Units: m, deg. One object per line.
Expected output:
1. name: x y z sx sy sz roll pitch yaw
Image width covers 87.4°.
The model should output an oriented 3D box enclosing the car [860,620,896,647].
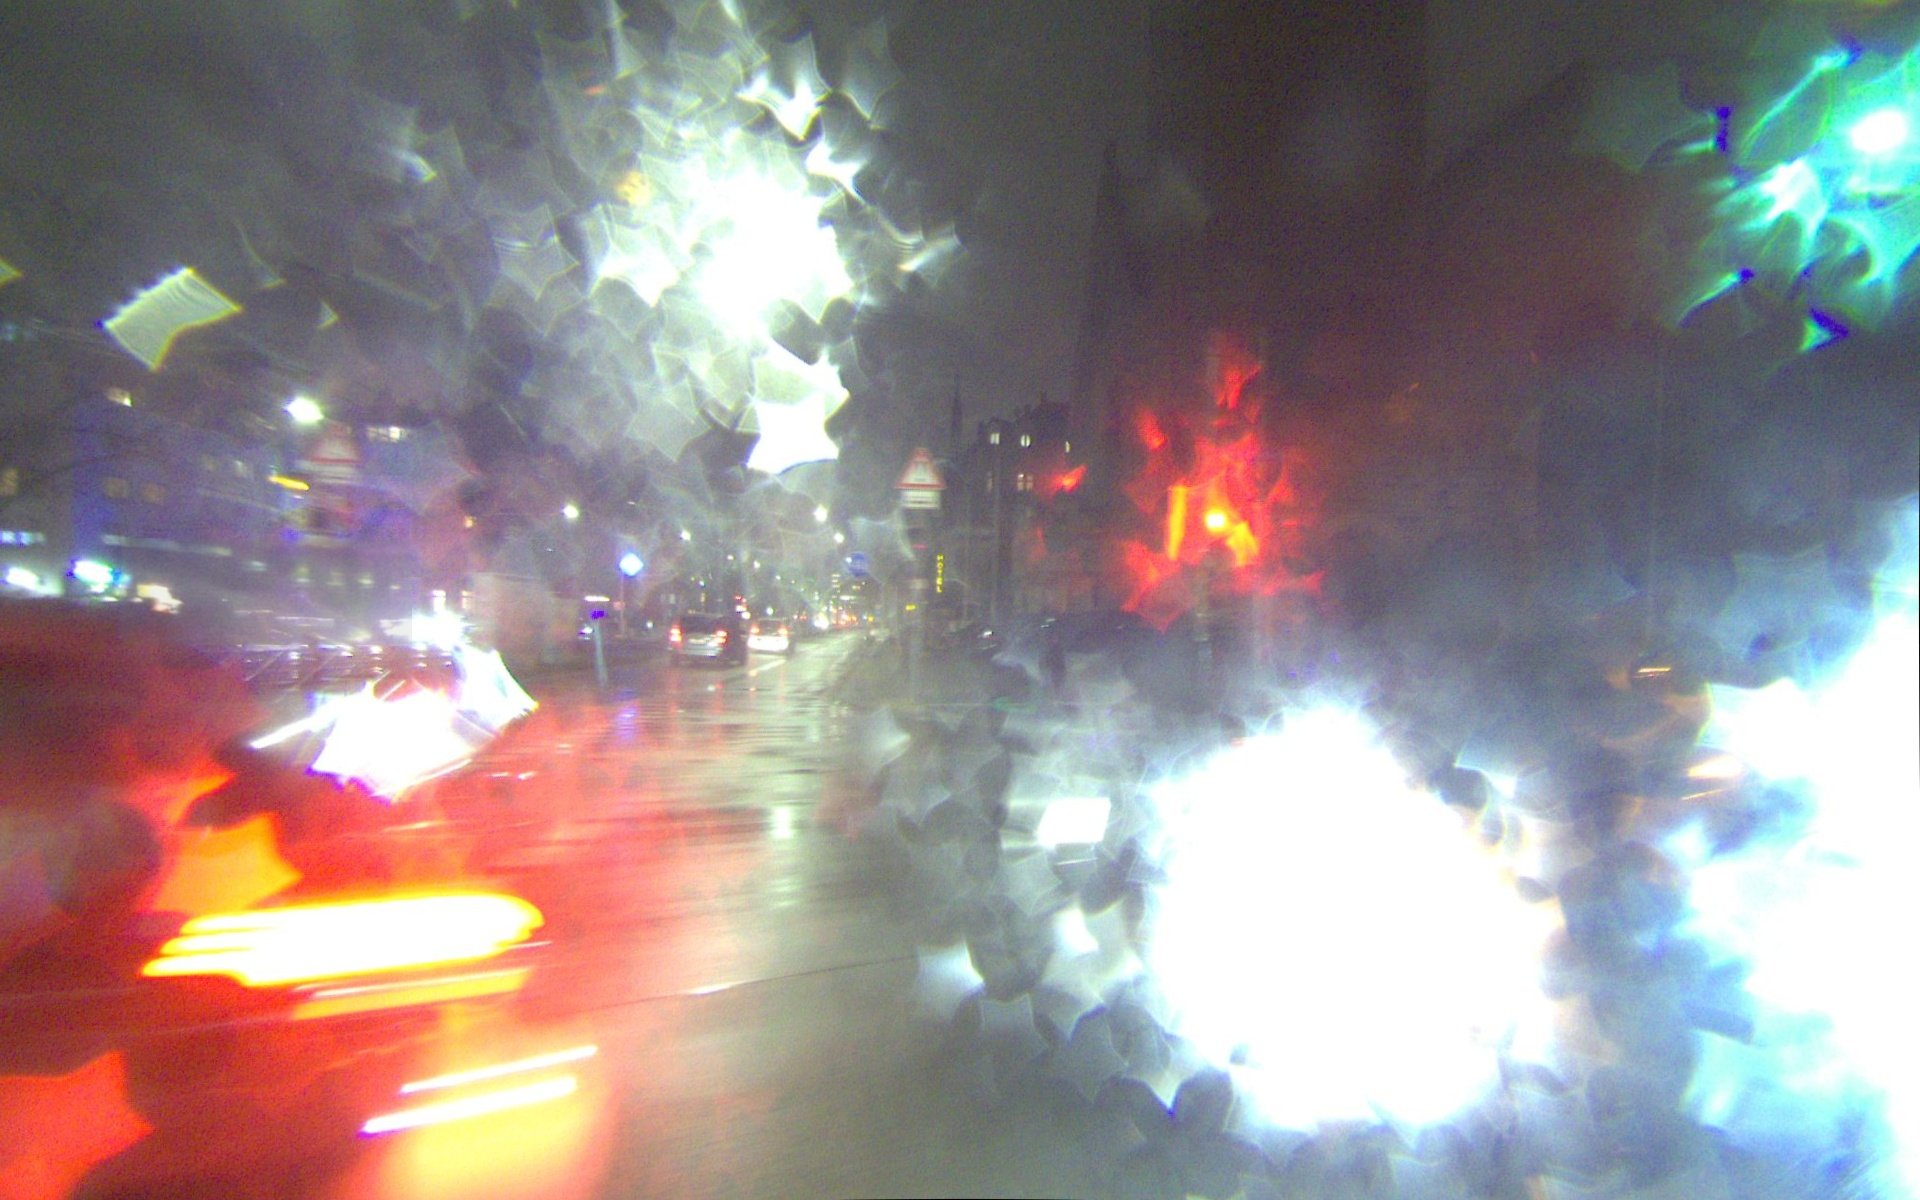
1. car: -5.547 2.232 67.758 2.050 1.804 4.327 1 -1 -9

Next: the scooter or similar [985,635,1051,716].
1. scooter or similar: 0.938 1.210 16.337 1.061 1.256 0.285 1 -1 33

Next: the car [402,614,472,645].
1. car: -30.820 1.713 59.362 1.861 1.766 4.738 1 -1 -3

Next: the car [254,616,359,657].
1. car: -29.668 1.649 45.805 1.861 1.766 4.738 1 -1 -3

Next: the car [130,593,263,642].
1. car: -29.255 0.683 38.716 1.862 1.766 4.735 1 -1 -6

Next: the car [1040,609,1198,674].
1. car: 4.432 1.131 28.318 4.113 1.723 1.702 -1 0 -5

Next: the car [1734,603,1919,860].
1. car: 7.912 0.869 7.483 4.798 1.574 1.779 2 -1 -31

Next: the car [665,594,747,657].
1. car: -7.852 0.800 31.424 1.862 1.804 4.329 1 -1 -6

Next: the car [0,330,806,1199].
1. car: -2.403 0.437 1.517 3.960 1.583 1.661 2 -1 -30

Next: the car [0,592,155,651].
1. car: -28.760 0.687 32.560 1.862 1.766 4.735 1 -1 -6

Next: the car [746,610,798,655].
1. car: -8.098 1.391 43.631 1.862 1.804 4.329 1 -1 -6

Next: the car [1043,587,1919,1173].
1. car: 2.482 0.747 4.237 4.050 1.439 1.660 2 -1 -31

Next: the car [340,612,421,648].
1. car: -30.080 1.553 52.289 1.862 1.766 4.735 1 -1 -6
